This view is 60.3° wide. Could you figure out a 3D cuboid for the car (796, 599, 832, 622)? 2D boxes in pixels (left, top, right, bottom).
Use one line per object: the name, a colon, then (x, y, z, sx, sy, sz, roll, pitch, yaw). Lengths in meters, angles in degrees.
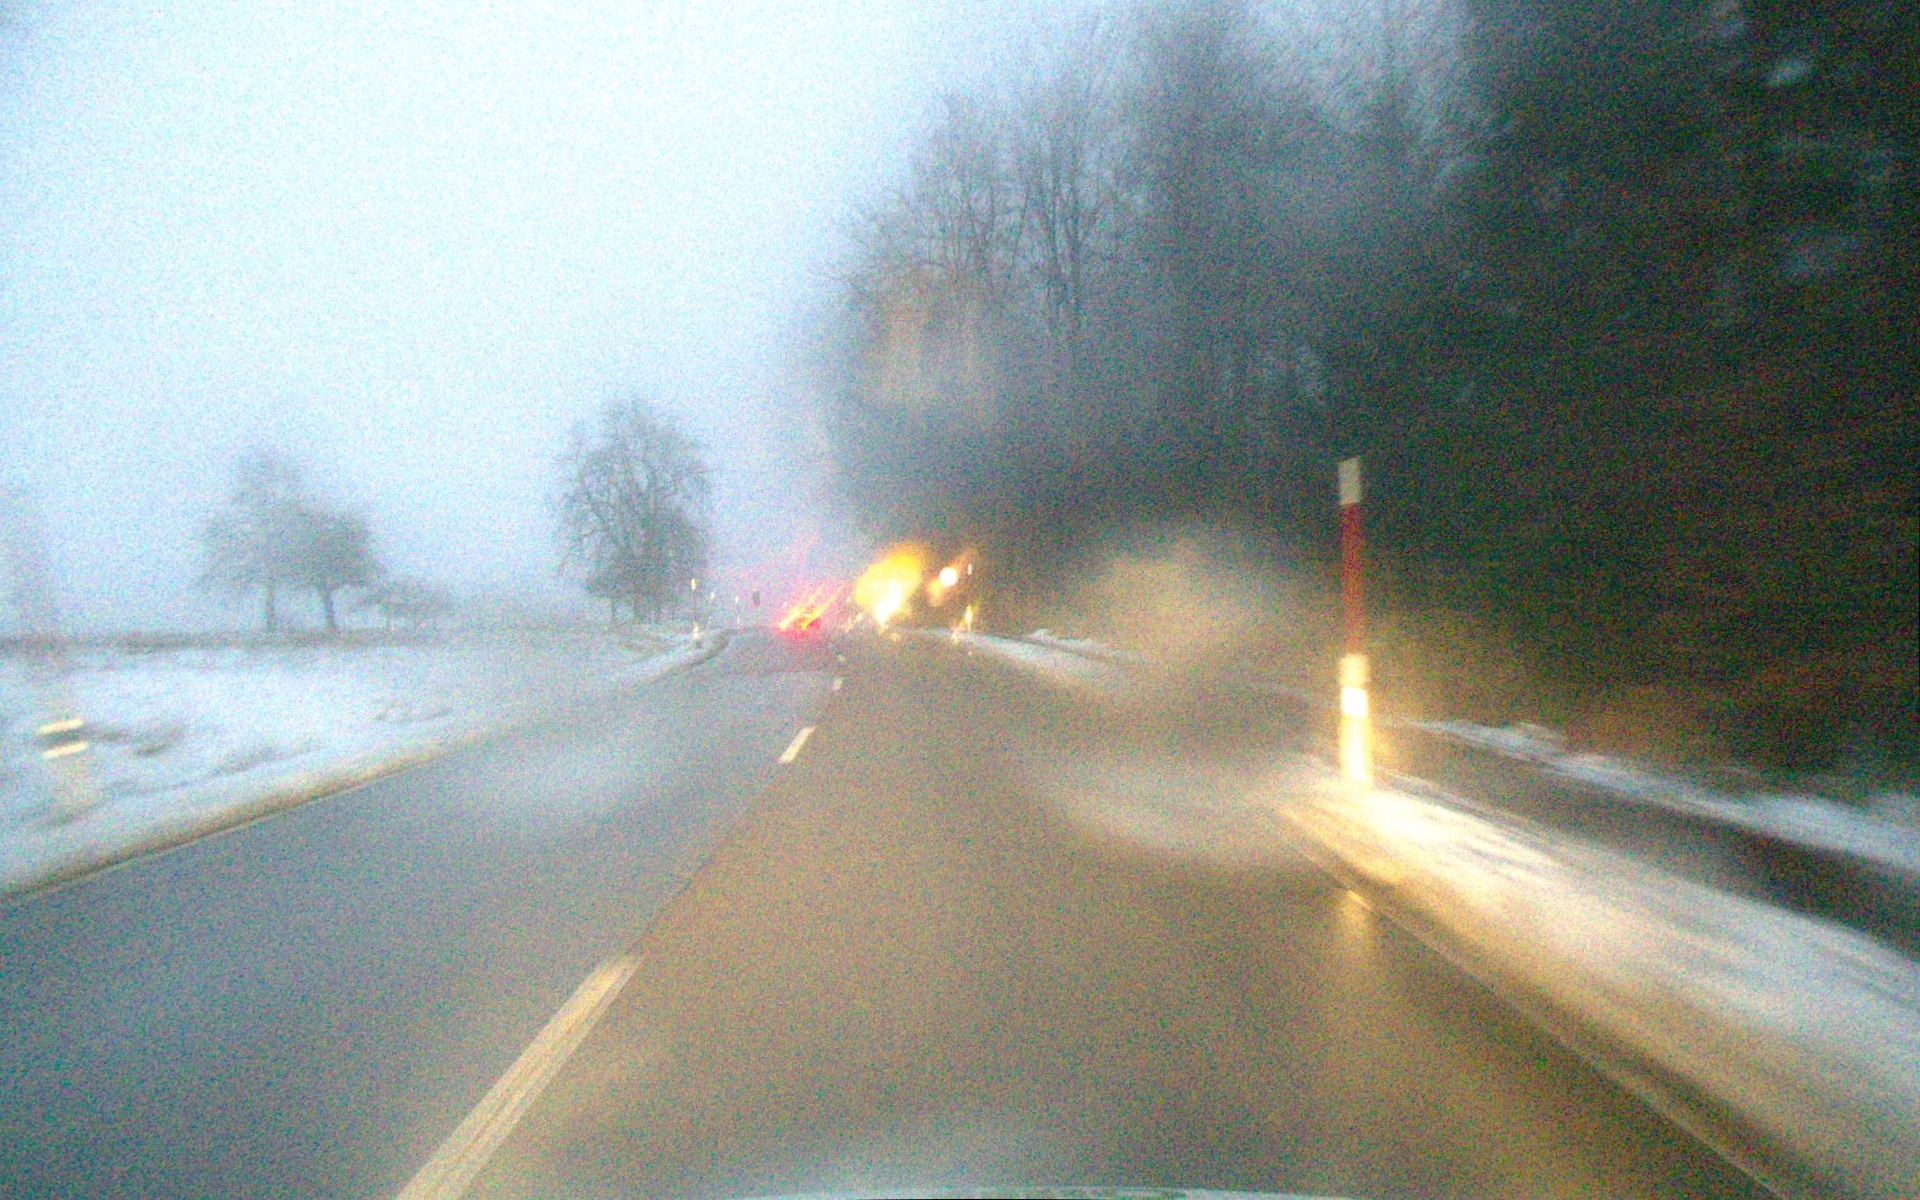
car: (-9.125, 0.633, 103.345, 1.883, 1.299, 4.000, -2, 0, -1)
